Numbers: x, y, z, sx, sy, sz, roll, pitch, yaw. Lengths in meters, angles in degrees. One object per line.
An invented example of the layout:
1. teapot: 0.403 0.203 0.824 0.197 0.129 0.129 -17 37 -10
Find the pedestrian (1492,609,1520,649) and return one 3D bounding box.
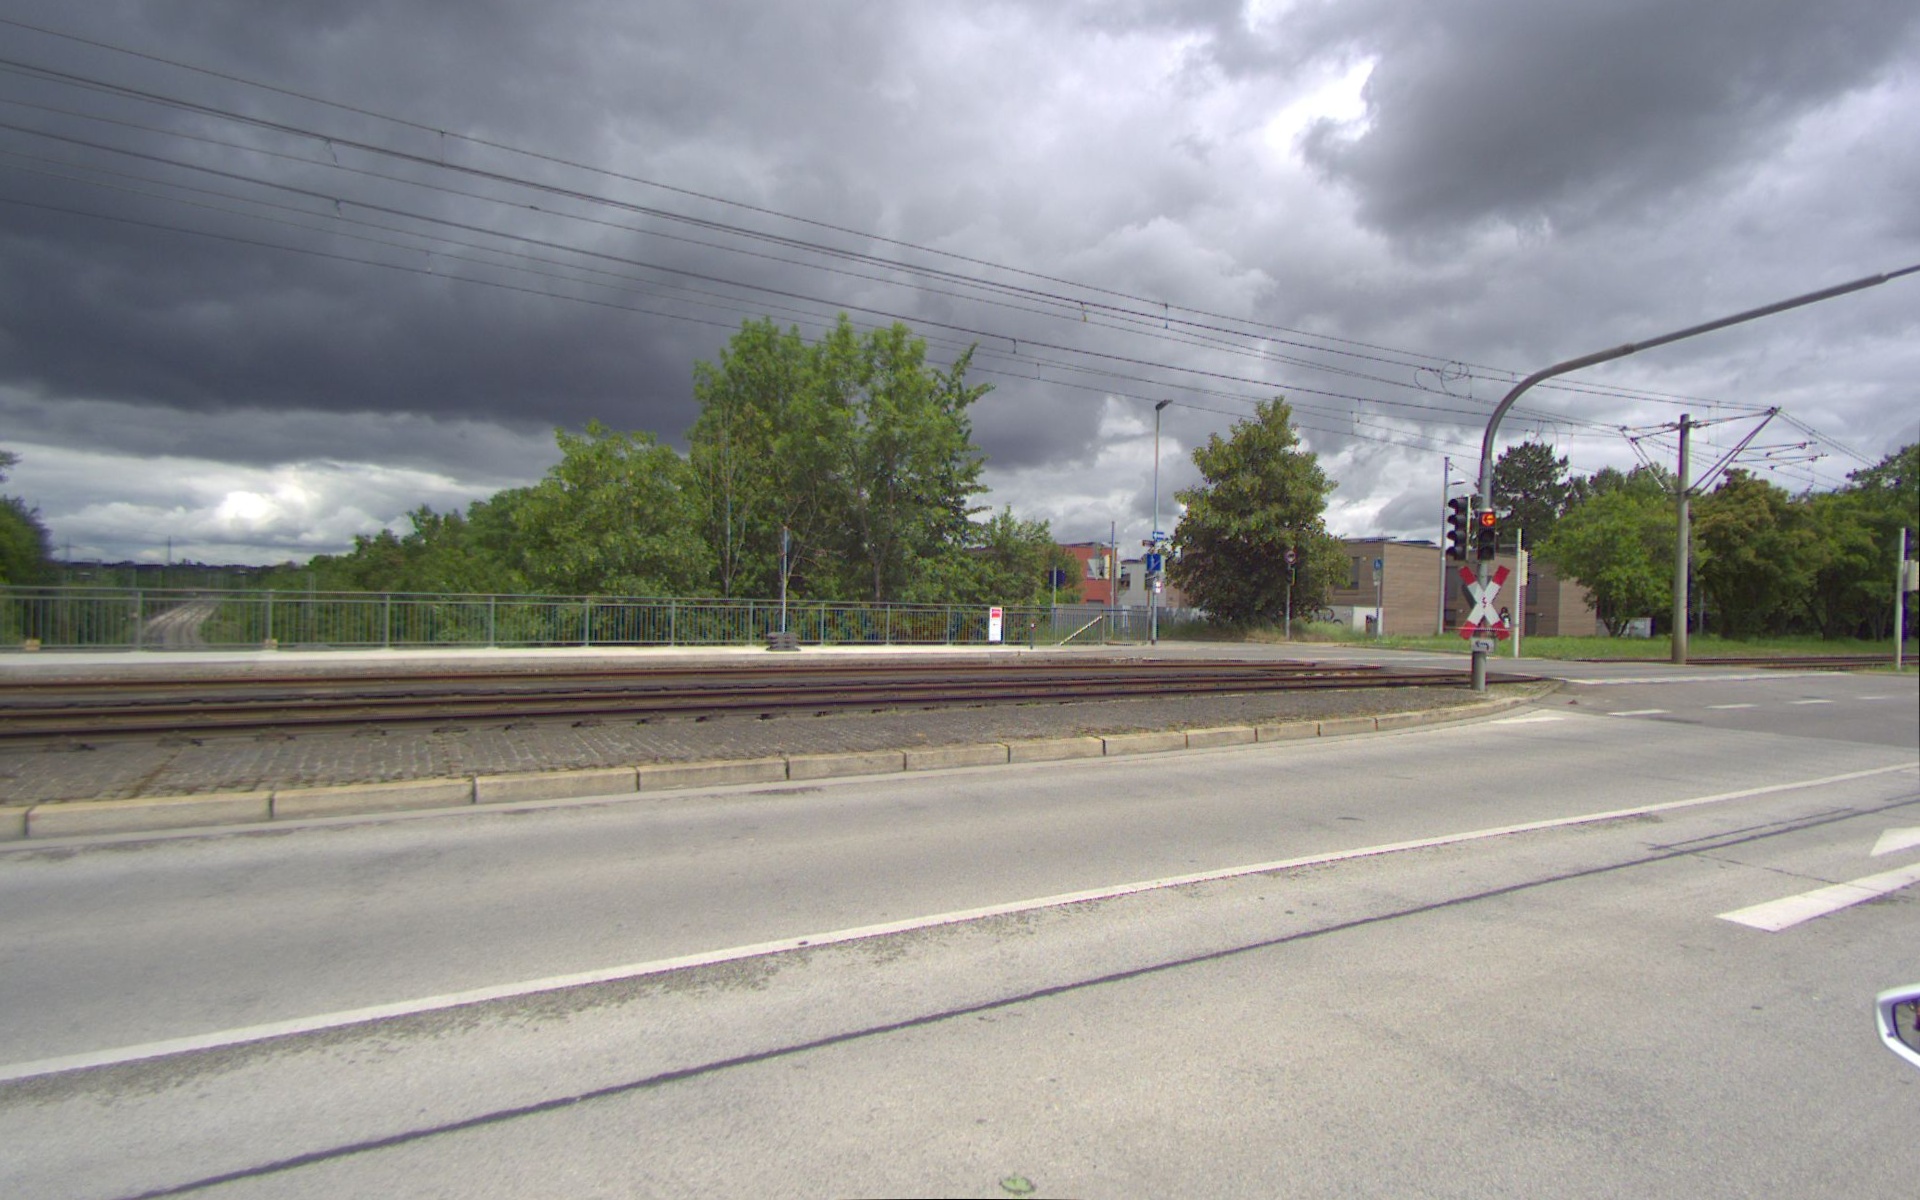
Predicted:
1. pedestrian: 26.446 1.403 48.675 0.799 1.836 0.798 1 2 -28

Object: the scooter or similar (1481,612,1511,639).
1. scooter or similar: 25.746 1.227 48.240 0.961 1.200 0.886 1 2 -30
